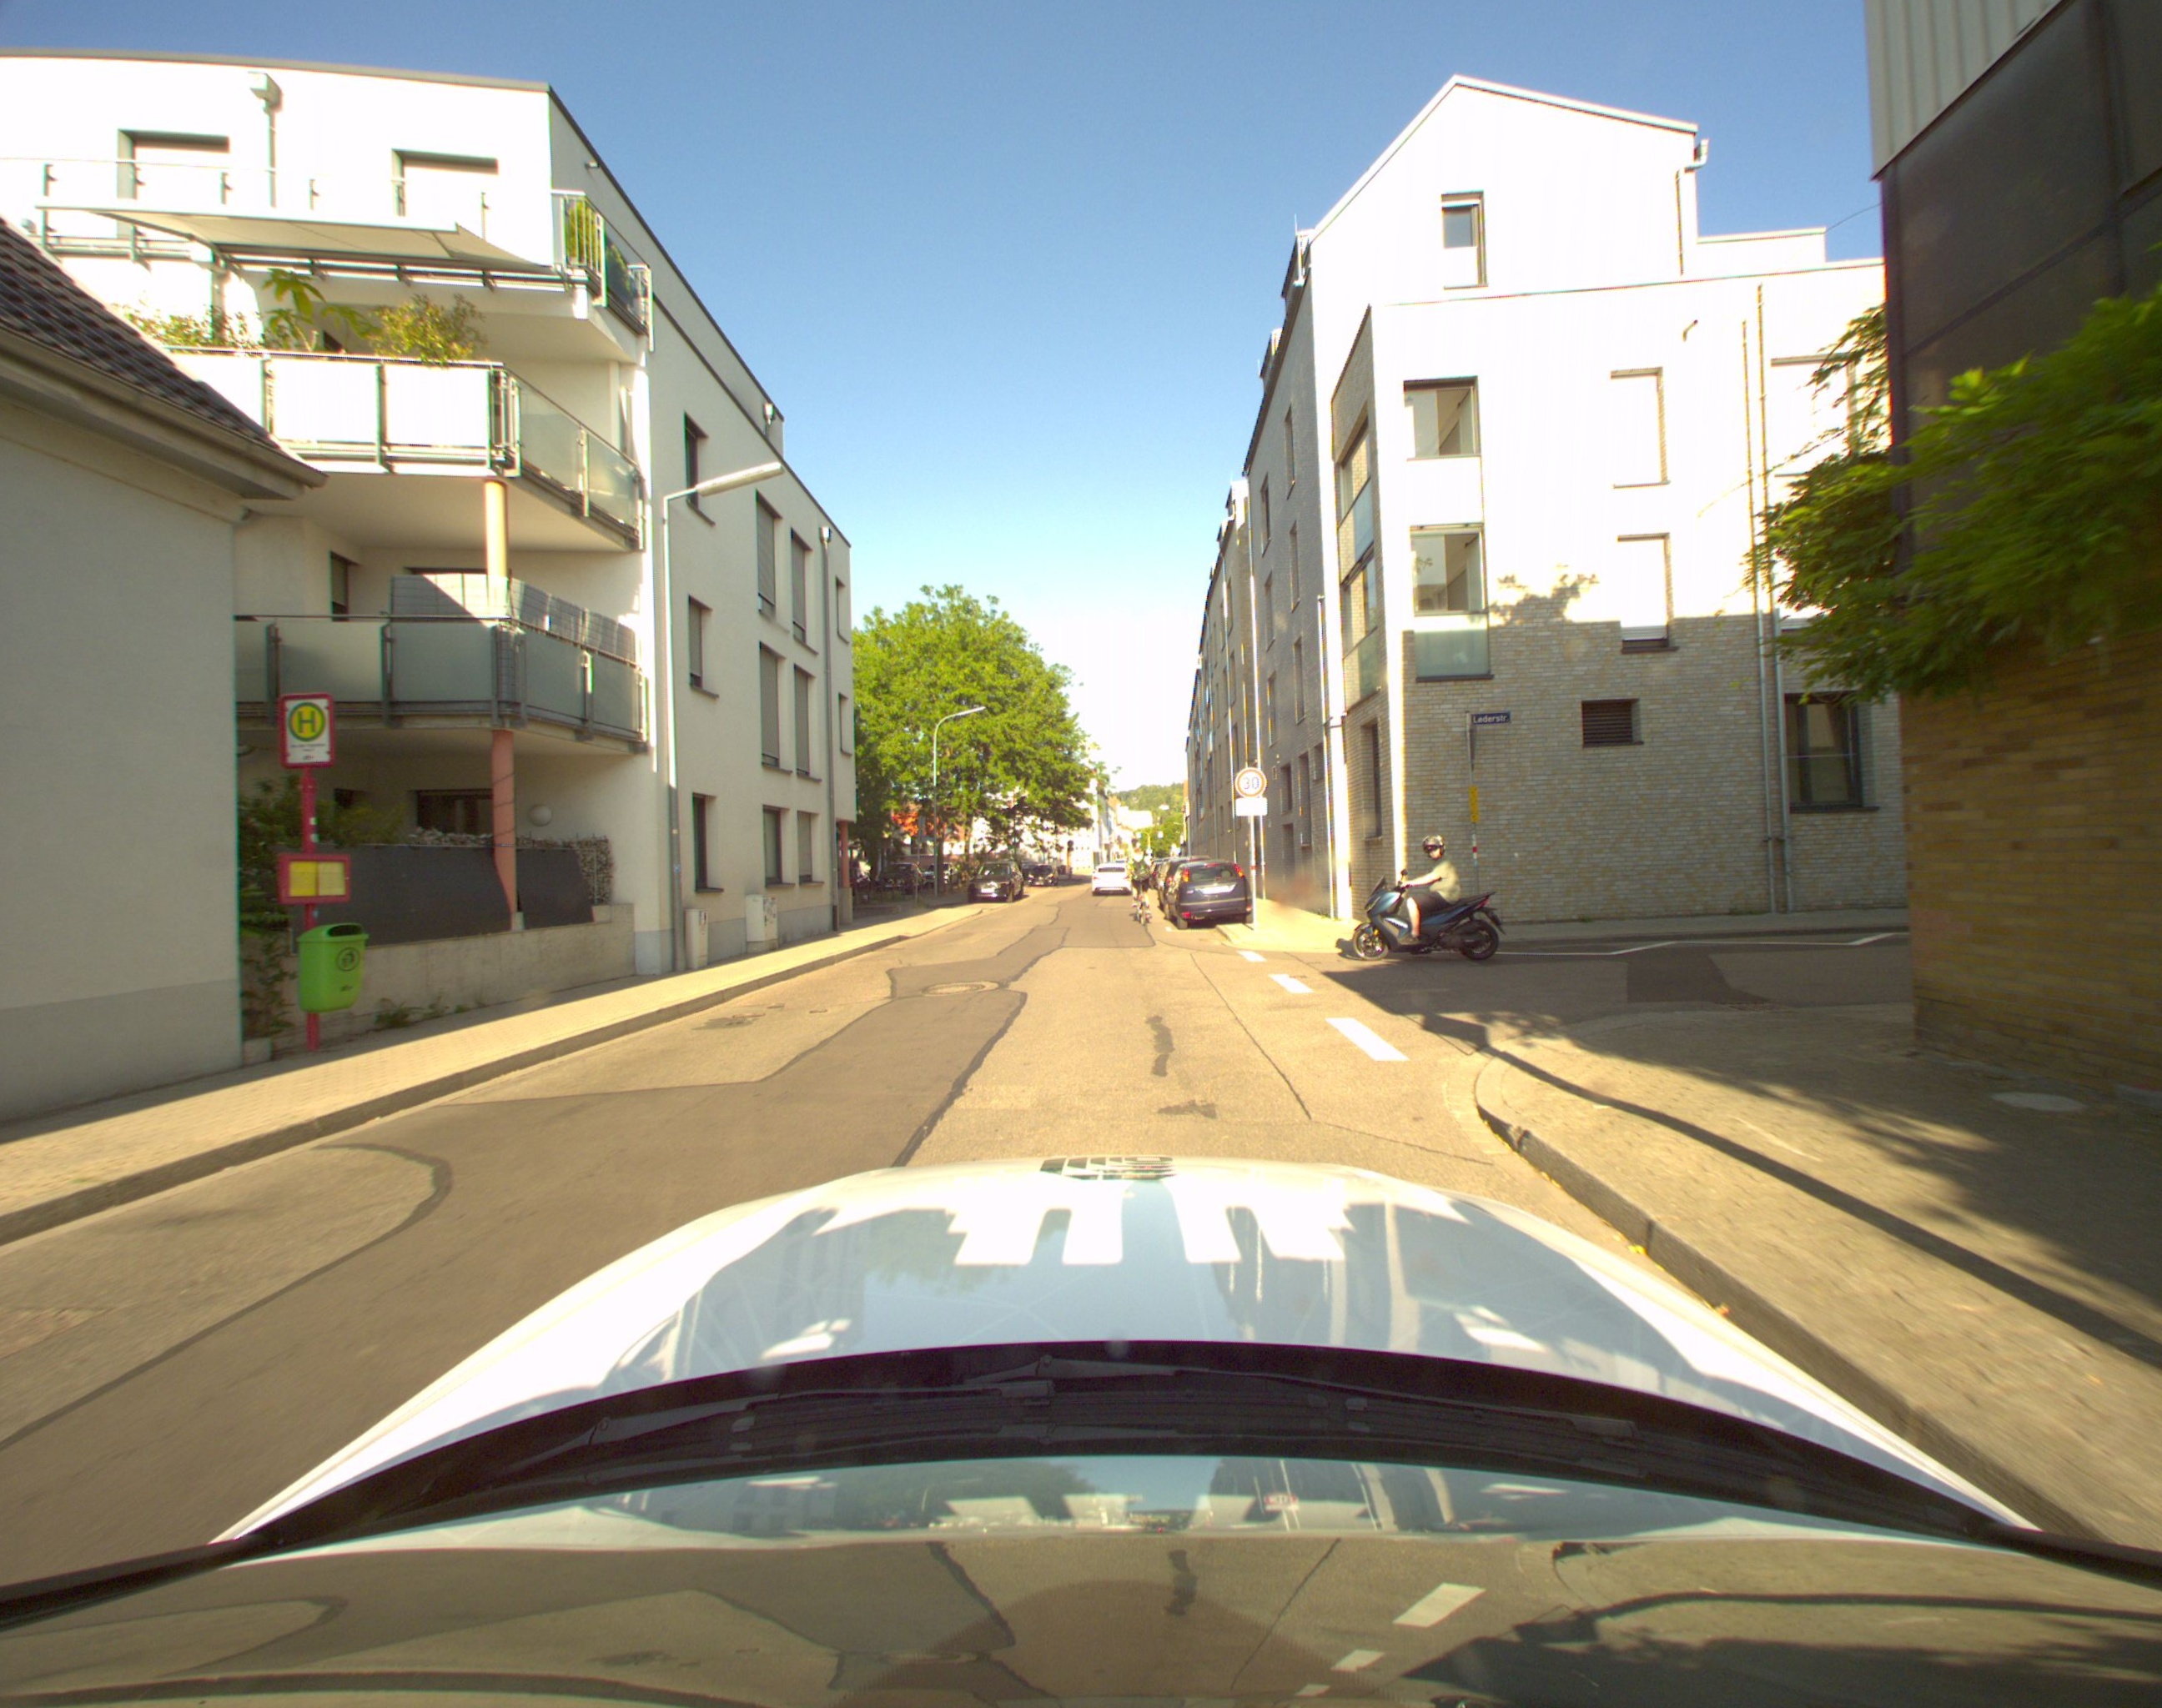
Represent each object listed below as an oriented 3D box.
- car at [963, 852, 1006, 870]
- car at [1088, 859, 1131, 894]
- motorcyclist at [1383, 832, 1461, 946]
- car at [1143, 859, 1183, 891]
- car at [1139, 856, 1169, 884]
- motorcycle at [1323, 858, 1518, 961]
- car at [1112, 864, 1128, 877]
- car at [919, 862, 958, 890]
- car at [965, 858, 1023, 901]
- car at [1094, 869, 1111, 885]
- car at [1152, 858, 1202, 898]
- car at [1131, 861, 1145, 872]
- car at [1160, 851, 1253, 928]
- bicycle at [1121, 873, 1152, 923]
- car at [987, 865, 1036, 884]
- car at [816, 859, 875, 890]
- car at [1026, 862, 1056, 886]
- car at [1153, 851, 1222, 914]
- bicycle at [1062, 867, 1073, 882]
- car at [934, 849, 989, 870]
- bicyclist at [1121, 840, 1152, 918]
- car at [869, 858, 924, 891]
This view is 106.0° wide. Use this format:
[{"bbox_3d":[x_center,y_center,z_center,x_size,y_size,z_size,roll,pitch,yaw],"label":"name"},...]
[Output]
[{"bbox_3d":[-8.976,0.660,75.981,3.895,1.575,1.706,1,-1,-6],"label":"car"},{"bbox_3d":[1.243,1.020,36.693,1.836,1.491,4.144,1,-2,1],"label":"car"},{"bbox_3d":[4.668,0.465,11.125,0.868,1.473,0.901,0,-2,31],"label":"motorcyclist"},{"bbox_3d":[4.497,1.176,45.261,1.850,1.587,4.623,-3,-2,2],"label":"car"},{"bbox_3d":[4.847,1.060,54.298,1.849,1.702,4.625,-3,-2,4],"label":"car"},{"bbox_3d":[4.613,0.753,11.130,2.312,1.281,0.901,-2,-3,31],"label":"motorcycle"},{"bbox_3d":[5.336,2.237,111.134,1.936,1.587,4.627,-3,-2,5],"label":"car"},{"bbox_3d":[-9.404,1.449,53.906,1.784,1.690,3.964,2,-1,0],"label":"car"},{"bbox_3d":[-3.851,1.128,36.799,1.845,1.791,4.610,1,-1,3],"label":"car"},{"bbox_3d":[2.152,2.316,82.162,1.658,1.575,3.914,1,-1,1],"label":"car"},{"bbox_3d":[4.034,1.016,34.869,1.850,1.587,4.624,1,-1,3],"label":"car"},{"bbox_3d":[8.928,1.935,127.641,1.935,1.587,4.630,-3,-2,7],"label":"car"},{"bbox_3d":[2.877,0.814,19.478,1.624,1.587,4.070,-2,-2,1],"label":"car"},{"bbox_3d":[1.326,1.036,19.669,0.695,1.130,2.404,1,-2,3],"label":"bicycle"},{"bbox_3d":[-5.899,1.756,69.387,3.883,1.575,1.711,1,-1,4],"label":"car"},{"bbox_3d":[-12.078,1.033,42.018,1.712,1.449,4.142,2,-1,0],"label":"car"},{"bbox_3d":[-2.657,1.331,55.255,1.698,1.575,3.914,1,-1,1],"label":"car"},{"bbox_3d":[3.084,0.828,24.196,1.658,1.702,3.915,1,-1,2],"label":"car"},{"bbox_3d":[-1.155,1.769,70.141,0.832,1.218,2.842,1,-1,1],"label":"bicycle"},{"bbox_3d":[-9.402,0.431,64.269,3.880,1.575,1.713,1,-1,7],"label":"car"},{"bbox_3d":[1.325,0.598,19.543,0.695,1.790,1.041,1,-2,3],"label":"bicyclist"},{"bbox_3d":[-9.601,1.054,42.751,1.852,1.587,4.618,2,-1,-1],"label":"car"}]
